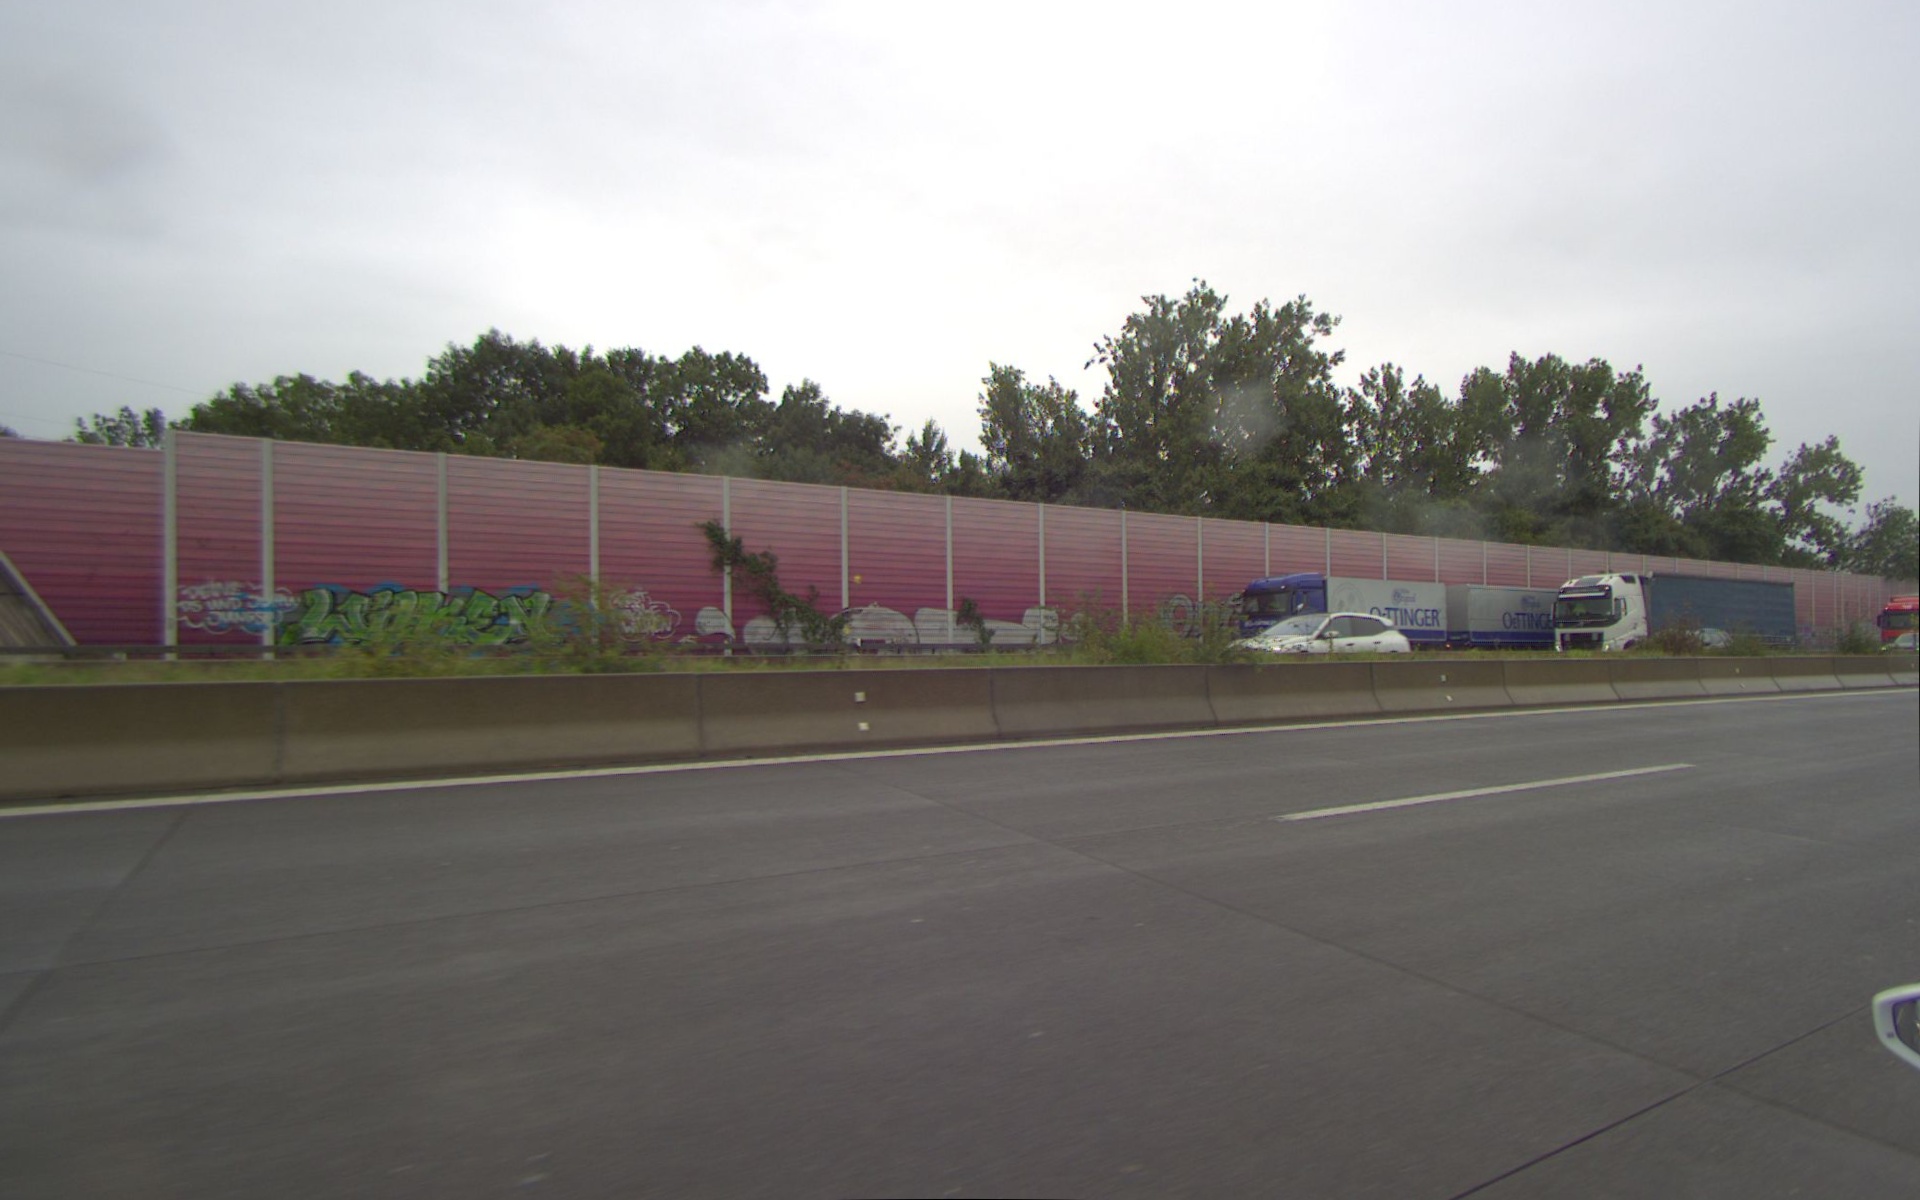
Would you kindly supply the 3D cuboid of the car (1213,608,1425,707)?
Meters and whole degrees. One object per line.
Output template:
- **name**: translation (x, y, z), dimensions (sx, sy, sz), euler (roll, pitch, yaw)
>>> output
- **car**: translation (8.168, 1.236, 22.766), dimensions (4.736, 2.040, 1.984), euler (1, -1, -31)

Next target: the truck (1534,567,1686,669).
- **truck**: translation (27.807, 0.773, 42.959), dimensions (5.980, 4.081, 3.032), euler (1, 0, -30)

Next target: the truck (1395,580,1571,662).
- **truck**: translation (23.556, 0.951, 45.095), dimensions (8.601, 3.395, 2.957), euler (1, 0, -31)

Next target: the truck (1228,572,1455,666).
- **truck**: translation (15.421, 0.760, 40.167), dimensions (10.313, 3.395, 2.699), euler (1, 0, -31)

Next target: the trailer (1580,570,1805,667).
- **trailer**: translation (34.331, 0.892, 46.754), dimensions (13.959, 4.081, 3.031), euler (1, 0, -30)

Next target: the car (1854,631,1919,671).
- **car**: translation (46.475, 2.488, 49.850), dimensions (4.339, 1.884, 1.984), euler (1, -1, -31)

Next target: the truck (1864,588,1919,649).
- **truck**: translation (59.353, 1.189, 61.732), dimensions (10.496, 3.537, 2.767), euler (1, -1, -31)
